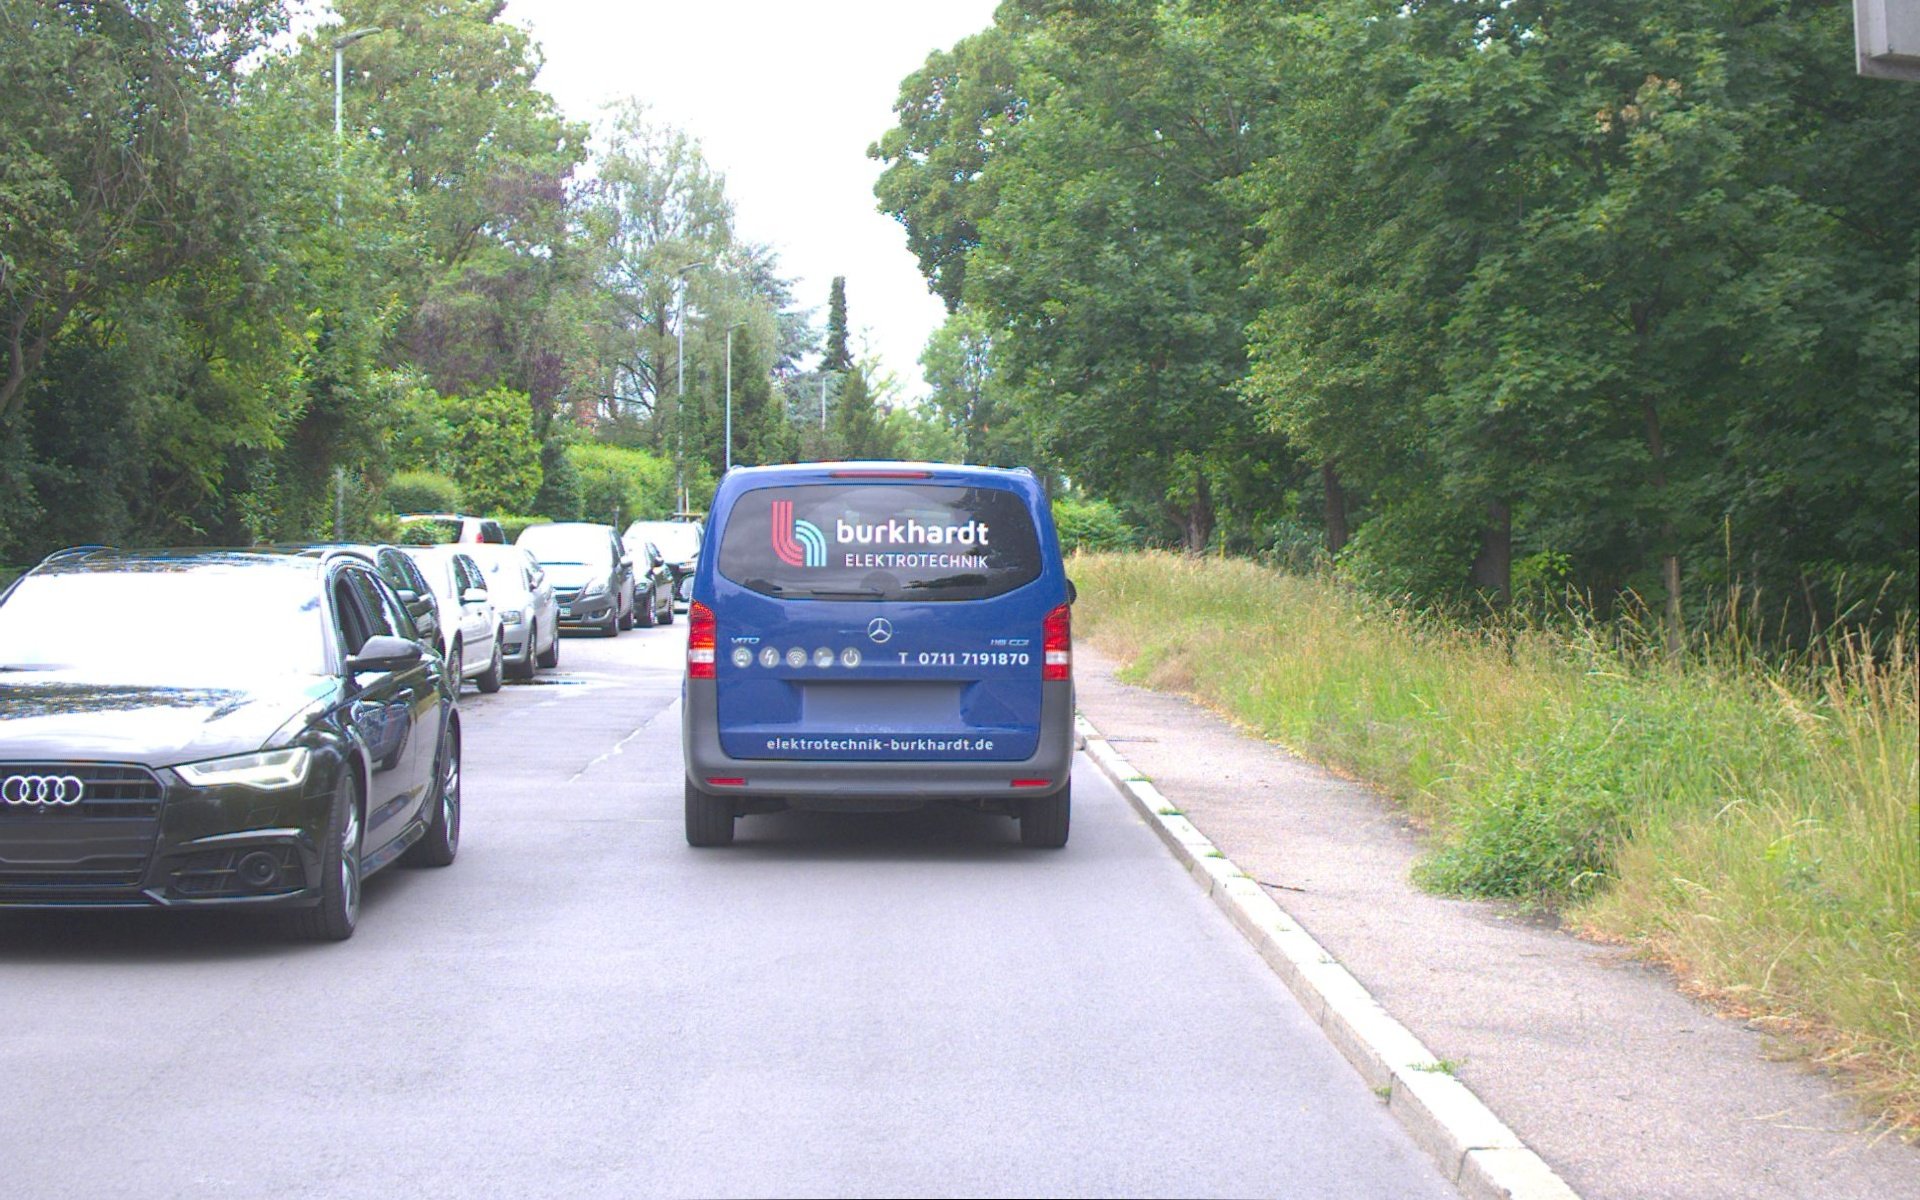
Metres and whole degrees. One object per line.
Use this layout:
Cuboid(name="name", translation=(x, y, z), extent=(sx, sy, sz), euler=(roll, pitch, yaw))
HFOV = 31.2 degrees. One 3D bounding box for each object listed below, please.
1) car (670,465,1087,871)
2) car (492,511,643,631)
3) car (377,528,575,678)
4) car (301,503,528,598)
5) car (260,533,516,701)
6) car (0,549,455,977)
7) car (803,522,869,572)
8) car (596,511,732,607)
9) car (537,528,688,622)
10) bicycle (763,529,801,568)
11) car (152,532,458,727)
Cuboid(name="car", translation=(-0.470, 0.239, 17.691), extent=(1.888, 1.837, 4.001), euler=(0, 2, -3))
Cuboid(name="car", translation=(-5.705, -0.455, 50.365), extent=(1.731, 1.626, 4.569), euler=(2, 1, -1))
Cuboid(name="car", translation=(-5.286, -0.009, 37.968), extent=(1.623, 1.445, 4.094), euler=(3, 2, -1))
Cuboid(name="car", translation=(-10.089, -0.930, 63.656), extent=(3.694, 1.632, 1.827), euler=(2, 1, 13))
Cuboid(name="car", translation=(-5.306, 0.105, 32.364), extent=(1.659, 1.447, 4.382), euler=(0, 1, 0))
Cuboid(name="car", translation=(-3.206, 0.523, 13.944), extent=(1.780, 1.421, 4.490), euler=(0, 1, -2))
Cuboid(name="car", translation=(-4.237, -1.812, 117.783), extent=(1.836, 1.625, 4.300), euler=(2, 1, 3))
Cuboid(name="car", translation=(-5.681, -0.821, 66.537), extent=(1.974, 1.731, 5.189), euler=(2, 1, 2))
Cuboid(name="car", translation=(-5.593, -0.438, 55.817), extent=(1.754, 1.408, 4.898), euler=(2, 1, 2))
Cuboid(name="bicycle", translation=(-5.942, -1.710, 114.924), extent=(0.906, 1.247, 2.916), euler=(3, 1, 3))
Cuboid(name="car", translation=(-5.180, 0.184, 27.645), extent=(1.623, 1.445, 3.969), euler=(0, 1, 1))
